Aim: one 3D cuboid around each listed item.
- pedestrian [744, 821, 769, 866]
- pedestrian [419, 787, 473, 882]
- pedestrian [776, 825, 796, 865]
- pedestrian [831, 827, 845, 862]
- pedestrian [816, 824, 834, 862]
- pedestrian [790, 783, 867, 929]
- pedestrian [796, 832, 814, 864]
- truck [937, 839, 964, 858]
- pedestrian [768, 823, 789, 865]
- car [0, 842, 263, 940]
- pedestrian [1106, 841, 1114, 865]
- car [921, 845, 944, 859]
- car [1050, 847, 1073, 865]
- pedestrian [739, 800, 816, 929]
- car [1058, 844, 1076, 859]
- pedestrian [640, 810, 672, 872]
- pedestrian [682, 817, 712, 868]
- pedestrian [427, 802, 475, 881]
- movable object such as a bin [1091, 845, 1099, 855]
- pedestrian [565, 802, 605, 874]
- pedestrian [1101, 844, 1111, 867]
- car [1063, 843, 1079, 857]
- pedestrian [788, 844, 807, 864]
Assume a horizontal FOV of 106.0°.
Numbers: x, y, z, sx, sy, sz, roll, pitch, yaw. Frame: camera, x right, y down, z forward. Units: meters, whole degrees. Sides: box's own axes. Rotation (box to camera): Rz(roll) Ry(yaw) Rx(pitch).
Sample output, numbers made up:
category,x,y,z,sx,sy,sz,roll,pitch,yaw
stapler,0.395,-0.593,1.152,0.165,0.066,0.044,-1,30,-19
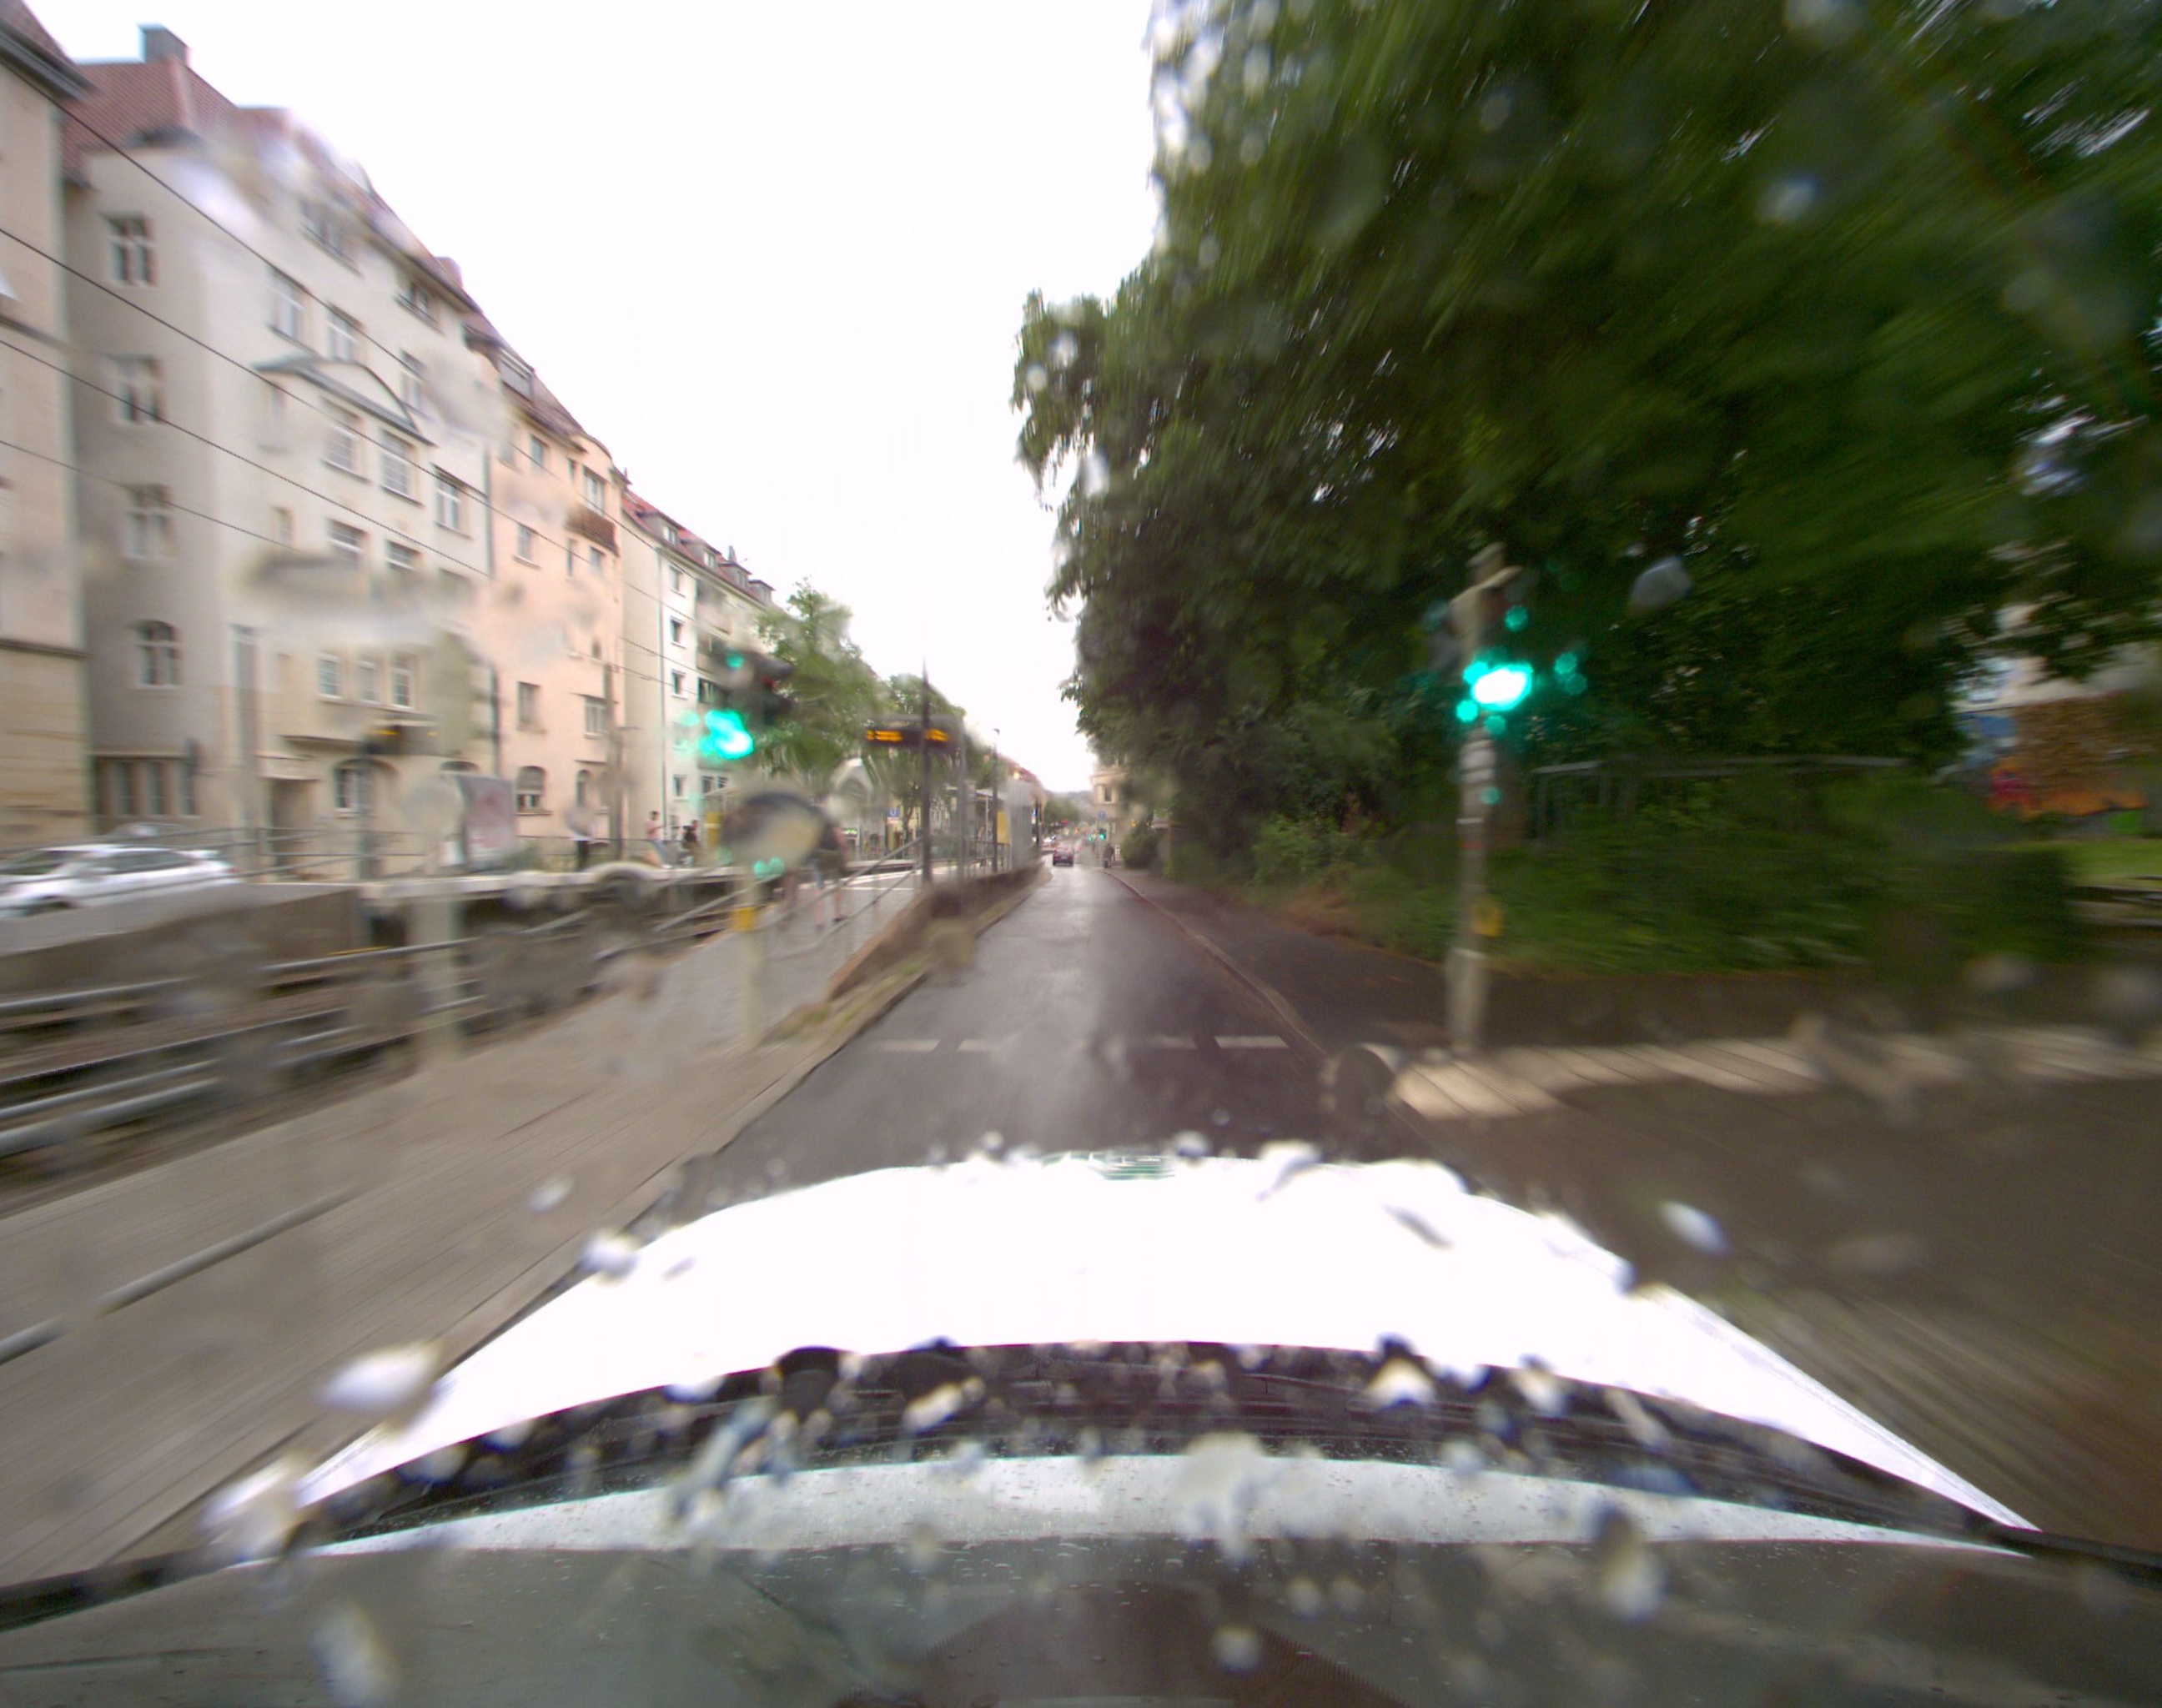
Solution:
category,x,y,z,sx,sy,sz,roll,pitch,yaw
pedestrian,-12.221,-0.391,30.681,0.592,1.666,0.762,-2,0,0
pedestrian,-12.706,-0.388,16.301,0.559,1.850,0.598,-2,0,0
pedestrian,-12.358,-0.381,34.157,0.548,1.666,0.614,-2,0,0
pedestrian,-12.236,-0.481,40.942,0.481,1.741,0.563,-2,0,0
pedestrian,-11.775,-0.501,37.468,0.548,1.741,0.614,-2,0,0
pedestrian,-3.242,0.002,10.531,0.648,1.782,0.848,0,8,1
pedestrian,-12.261,-0.275,36.212,0.548,1.413,0.614,-2,0,0
truck,-16.696,-0.670,104.253,2.042,2.393,6.327,0,0,4
pedestrian,-12.263,-0.386,33.030,0.592,1.666,0.591,-2,0,0
car,-18.693,0.608,15.305,1.916,1.622,4.537,-1,0,2
pedestrian,2.245,-0.066,62.636,0.552,1.813,0.650,0,0,-2
car,-17.164,-0.252,94.095,1.719,1.515,4.498,0,1,2
car,-1.643,0.134,69.002,1.846,1.473,3.999,0,1,-1
pedestrian,-3.881,0.115,10.474,0.648,1.560,0.684,0,8,1
car,-1.460,-0.279,85.545,1.846,1.473,3.998,0,0,-1
pedestrian,-12.886,-0.401,24.716,0.514,1.838,0.762,-2,0,0
pedestrian,-12.852,-0.383,27.253,0.592,1.666,0.762,-2,0,0
pedestrian,-13.055,-0.254,16.875,0.514,1.605,0.563,-2,0,0
movable object such as a bin,2.365,-0.686,133.964,1.165,1.655,1.308,-2,1,-4
pedestrian,-12.881,-0.407,21.176,0.514,1.838,0.762,-2,0,0
pedestrian,1.912,0.124,62.006,0.693,1.695,0.555,0,0,-3
car,-1.322,-0.529,104.554,1.943,1.793,4.142,0,0,-1
pedestrian,-12.295,-0.005,35.312,0.548,0.872,0.614,-2,0,0
